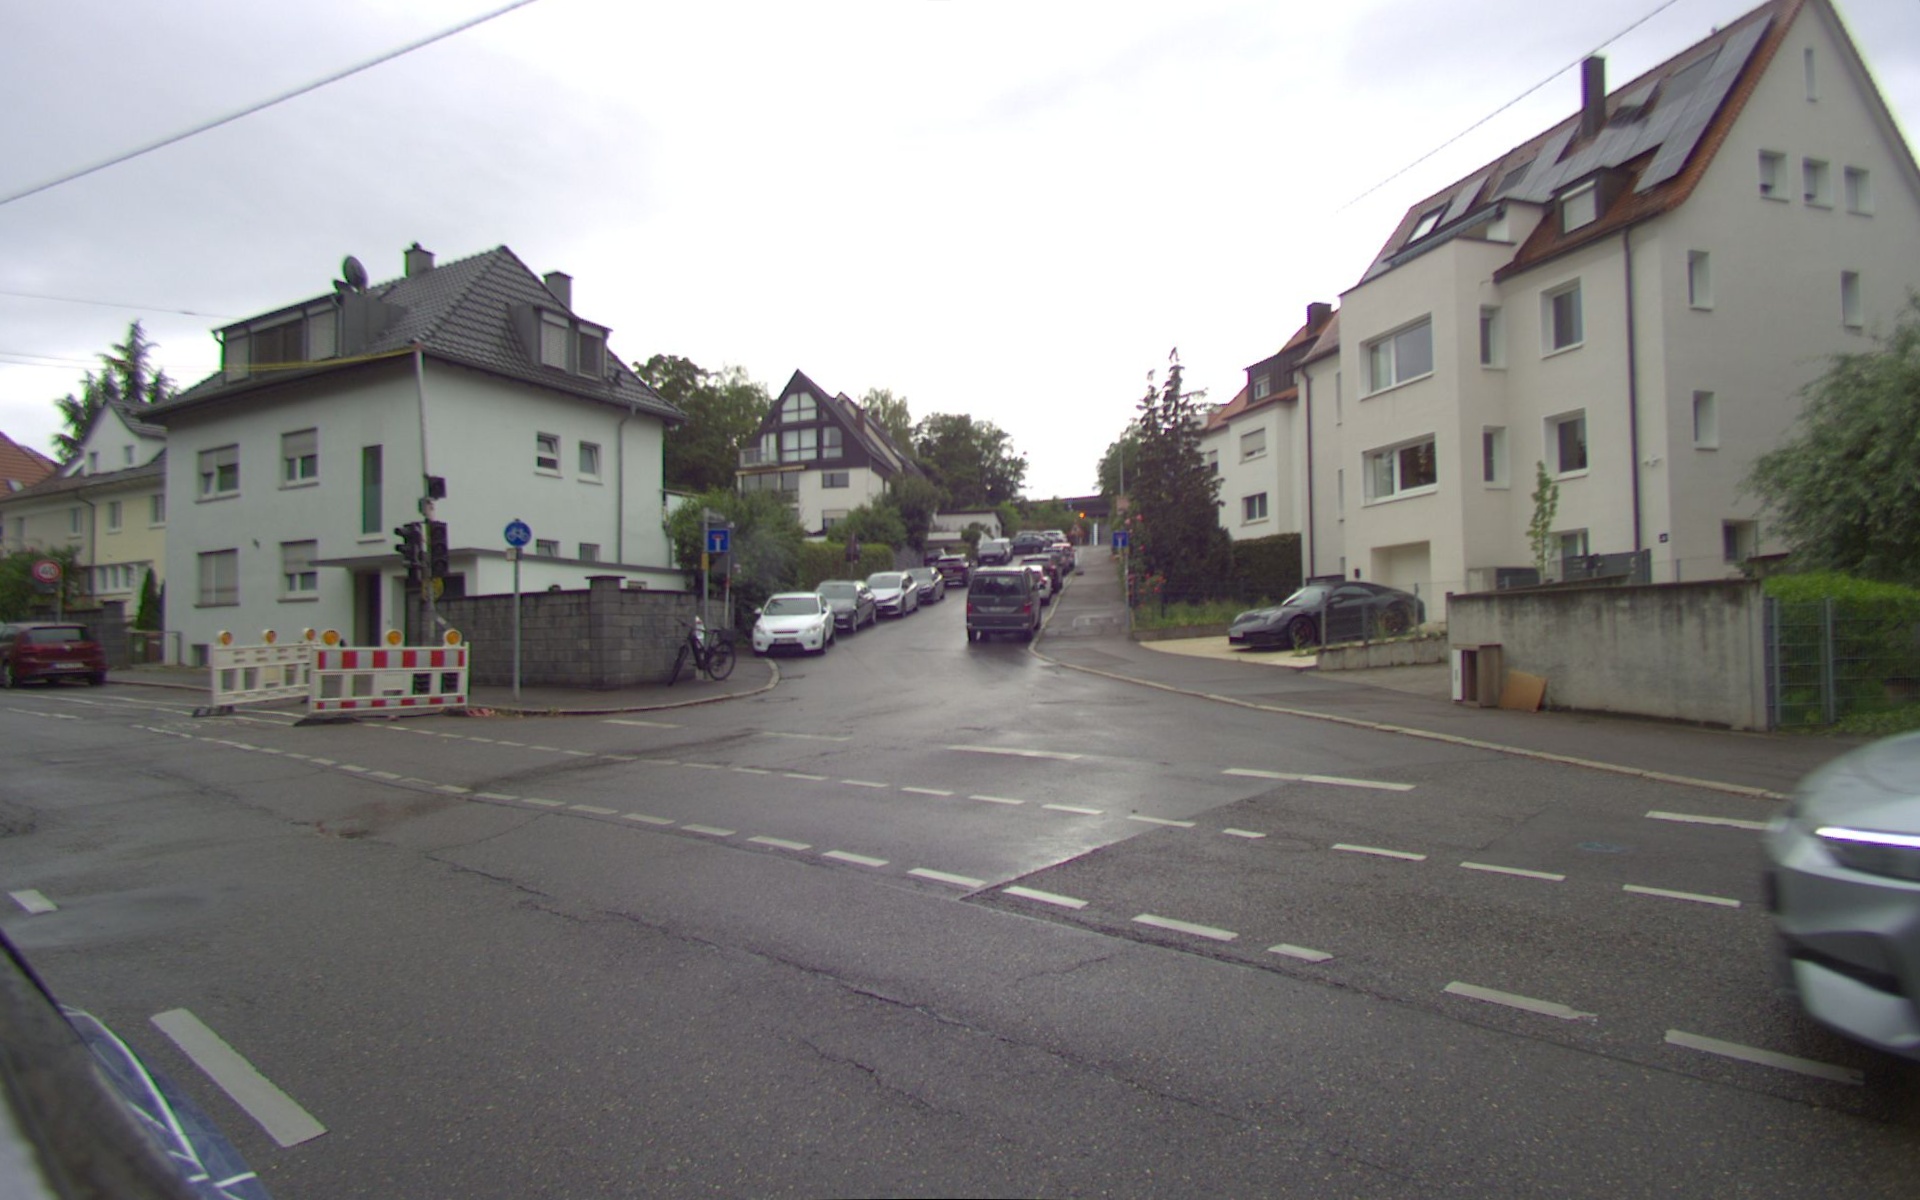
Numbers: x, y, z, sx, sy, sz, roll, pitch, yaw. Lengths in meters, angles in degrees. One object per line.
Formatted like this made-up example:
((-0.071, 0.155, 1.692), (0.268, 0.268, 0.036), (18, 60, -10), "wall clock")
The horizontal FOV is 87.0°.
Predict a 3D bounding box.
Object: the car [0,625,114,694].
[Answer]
((-21.471, 1.332, 23.385), (3.833, 1.443, 1.768), (-1, -1, 30), "car")

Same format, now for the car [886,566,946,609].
((-1.808, -0.555, 42.960), (1.903, 1.448, 4.100), (-1, 5, 7), "car")

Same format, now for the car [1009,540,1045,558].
((5.555, -4.200, 83.654), (2.914, 1.328, 1.282), (-1, 0, 4), "car")

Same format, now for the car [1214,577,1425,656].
((7.704, 0.332, 21.772), (3.942, 1.290, 1.613), (-5, 1, -13), "car")

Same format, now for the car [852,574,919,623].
((-2.659, -0.087, 37.088), (1.738, 1.481, 3.940), (-1, 4, 6), "car")

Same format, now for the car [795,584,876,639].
((-3.829, 0.317, 31.819), (1.702, 1.397, 3.900), (-1, 4, 6), "car")

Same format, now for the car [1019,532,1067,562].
((7.204, -4.564, 87.643), (3.954, 2.028, 1.995), (-5, -1, 8), "car")

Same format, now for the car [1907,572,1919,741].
((10.601, 0.421, 8.548), (3.934, 1.497, 1.780), (-2, -1, -12), "car")

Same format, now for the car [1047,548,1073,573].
((6.238, -2.449, 62.848), (1.488, 1.373, 3.465), (-1, 0, 8), "car")

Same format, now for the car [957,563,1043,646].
((1.240, 0.048, 29.326), (1.978, 2.028, 4.482), (-1, 4, 9), "car")

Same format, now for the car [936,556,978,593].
((-0.115, -1.365, 52.466), (1.623, 1.637, 3.992), (-1, 5, 8), "car")

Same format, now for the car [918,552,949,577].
((-1.826, -2.420, 69.794), (1.793, 1.566, 4.009), (-1, 0, 3), "car")

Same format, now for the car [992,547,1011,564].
((3.059, -3.328, 74.711), (1.292, 1.206, 2.980), (-1, 3, 5), "car")

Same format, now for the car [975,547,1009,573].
((2.196, -2.672, 68.886), (1.770, 1.531, 4.016), (-1, 0, 9), "car")

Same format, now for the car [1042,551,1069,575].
((5.503, -2.145, 58.112), (1.274, 1.325, 2.984), (-1, 3, 10), "car")

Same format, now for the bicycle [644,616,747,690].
((-4.788, 0.930, 18.458), (0.508, 1.249, 1.984), (1, 0, 32), "bicycle")

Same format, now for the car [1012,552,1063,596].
((3.520, -1.195, 45.376), (1.823, 1.699, 4.039), (-1, 5, 11), "car")

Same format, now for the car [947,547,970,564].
((-0.081, -3.261, 74.022), (1.559, 1.220, 3.650), (-1, 3, 2), "car")

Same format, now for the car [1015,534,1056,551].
((7.394, -5.591, 98.789), (3.922, 1.528, 1.748), (-1, 0, 6), "car")

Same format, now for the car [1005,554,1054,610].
((2.818, -0.756, 40.324), (1.686, 1.843, 4.194), (-1, 6, 7), "car")

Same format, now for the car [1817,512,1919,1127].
((4.776, 0.518, 1.829), (4.813, 1.539, 1.835), (-1, 0, 38), "car")

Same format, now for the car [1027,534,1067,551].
((8.942, -5.902, 103.914), (3.782, 1.529, 1.664), (-1, -1, 15), "car")

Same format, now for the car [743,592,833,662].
((-4.356, 0.623, 26.157), (1.827, 1.473, 4.124), (-1, 3, -3), "car")

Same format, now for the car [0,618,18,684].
((-26.156, 1.315, 25.776), (4.131, 1.653, 1.782), (-1, -1, 25), "car")
